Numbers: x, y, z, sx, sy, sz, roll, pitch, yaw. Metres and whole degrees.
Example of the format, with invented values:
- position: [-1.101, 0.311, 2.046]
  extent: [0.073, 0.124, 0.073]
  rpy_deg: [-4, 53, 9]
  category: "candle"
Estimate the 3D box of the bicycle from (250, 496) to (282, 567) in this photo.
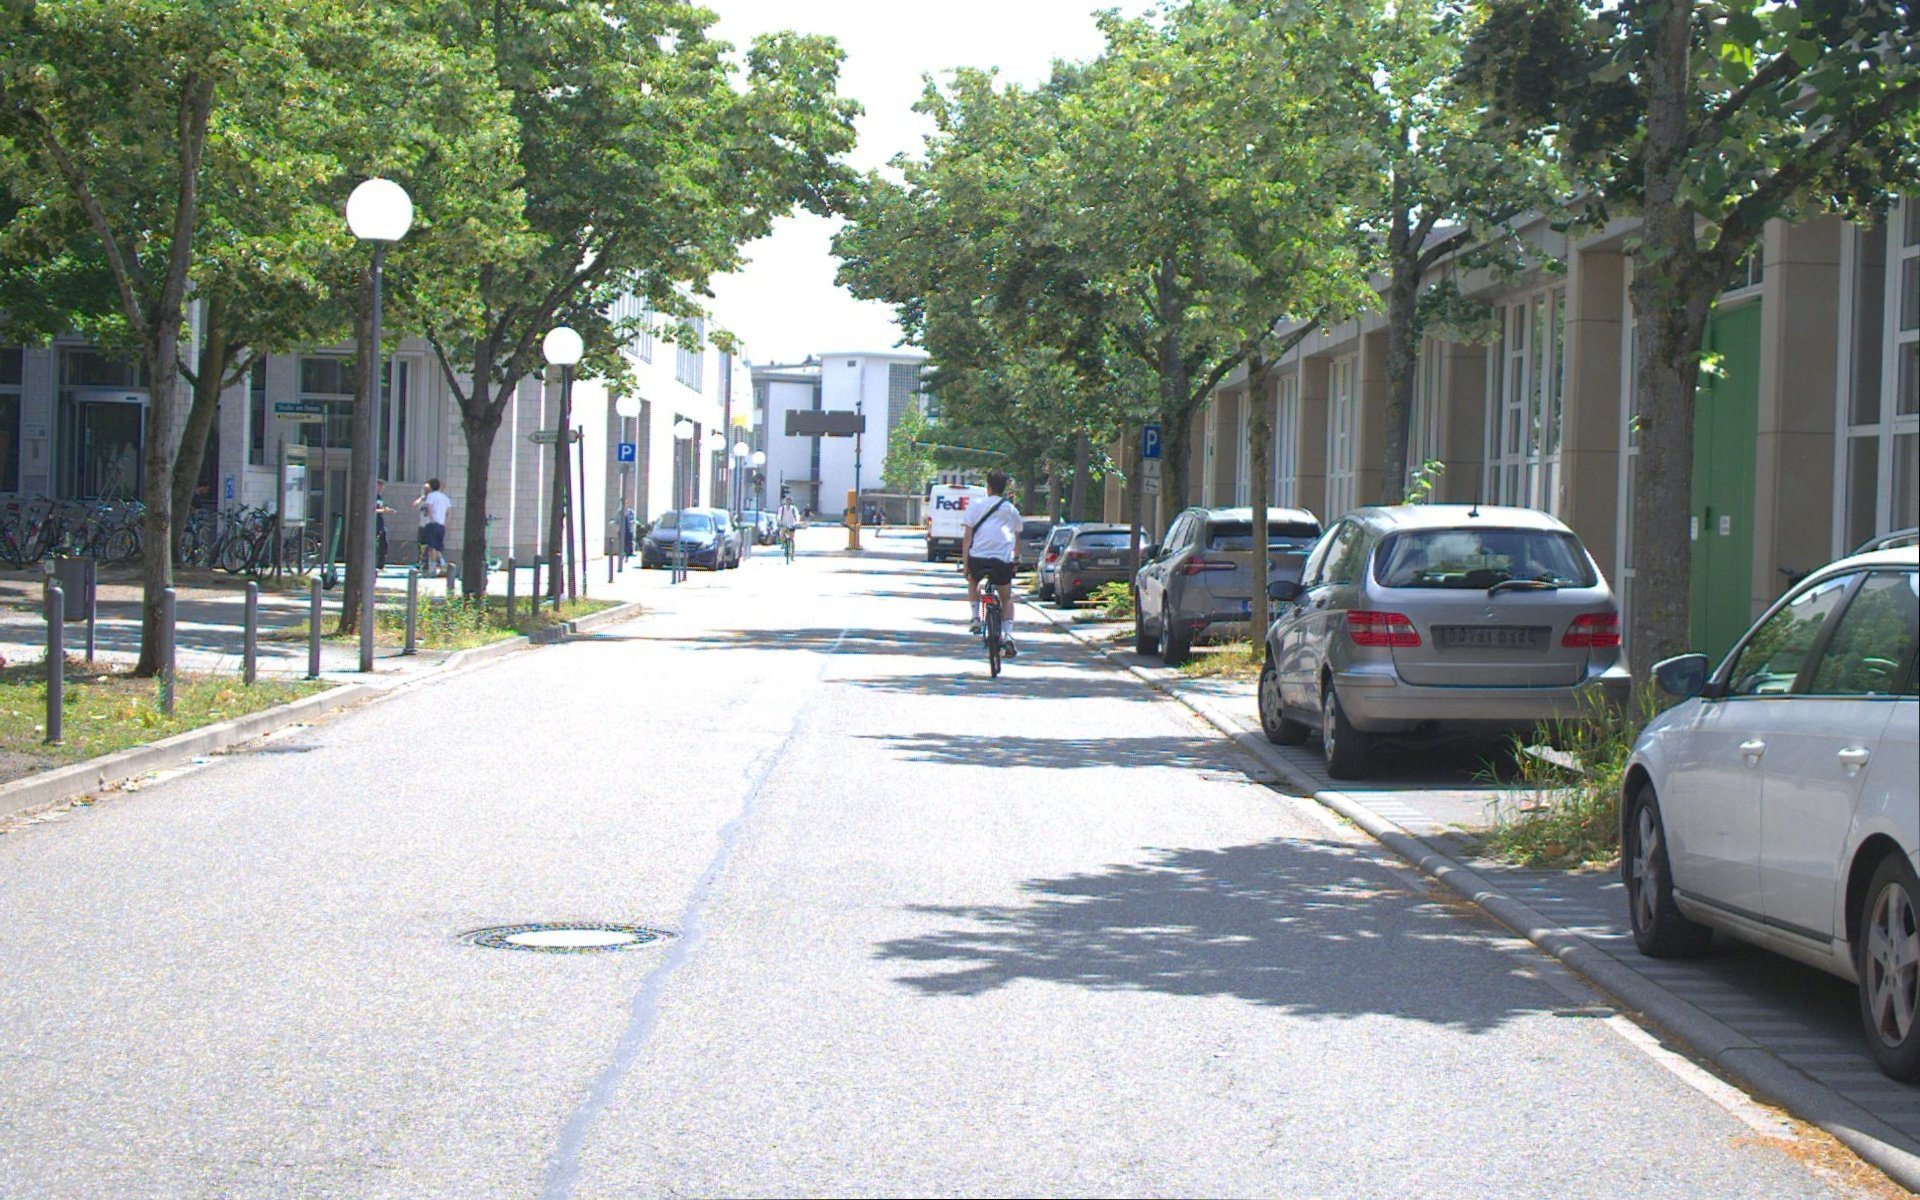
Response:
- position: [-10.373, -1.037, 51.360]
  extent: [0.381, 1.022, 1.816]
  rpy_deg: [2, 1, -13]
  category: "bicycle"

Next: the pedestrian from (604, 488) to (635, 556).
- position: [-8.777, -2.012, 88.545]
  extent: [0.649, 1.695, 0.890]
  rpy_deg: [2, 1, -11]
  category: "pedestrian"

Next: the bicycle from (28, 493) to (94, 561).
- position: [-15.092, -1.235, 57.746]
  extent: [0.552, 1.083, 1.973]
  rpy_deg: [3, 1, -1]
  category: "bicycle"

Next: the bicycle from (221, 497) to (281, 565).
- position: [-11.876, -1.165, 57.624]
  extent: [0.552, 1.083, 1.973]
  rpy_deg: [3, 1, -1]
  category: "bicycle"

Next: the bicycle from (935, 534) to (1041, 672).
- position: [0.242, 0.002, 32.499]
  extent: [0.882, 1.195, 2.750]
  rpy_deg: [2, 2, -1]
  category: "bicycle"

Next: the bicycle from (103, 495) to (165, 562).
- position: [-13.948, -1.209, 58.096]
  extent: [0.552, 1.083, 1.973]
  rpy_deg: [3, 1, -1]
  category: "bicycle"

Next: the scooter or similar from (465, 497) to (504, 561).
- position: [-9.333, -1.402, 67.482]
  extent: [0.454, 1.219, 1.549]
  rpy_deg: [2, 2, 3]
  category: "scooter or similar"

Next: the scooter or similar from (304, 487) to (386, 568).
- position: [-9.227, -1.087, 51.620]
  extent: [0.339, 1.171, 1.325]
  rpy_deg: [3, 2, 34]
  category: "scooter or similar"

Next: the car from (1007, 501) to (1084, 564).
- position: [2.184, -1.763, 88.864]
  extent: [1.858, 1.568, 4.000]
  rpy_deg: [0, 2, 0]
  category: "car"

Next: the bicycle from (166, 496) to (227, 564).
- position: [-12.830, -1.185, 57.809]
  extent: [0.552, 1.083, 1.973]
  rpy_deg: [3, 1, -1]
  category: "bicycle"

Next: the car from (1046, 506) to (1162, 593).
- position: [2.516, -0.916, 60.909]
  extent: [1.780, 1.471, 4.462]
  rpy_deg: [0, 2, -1]
  category: "car"

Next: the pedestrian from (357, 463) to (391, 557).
- position: [-11.232, -1.726, 65.892]
  extent: [0.441, 1.769, 0.451]
  rpy_deg: [1, 2, -31]
  category: "pedestrian"

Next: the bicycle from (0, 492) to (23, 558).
- position: [-16.264, -1.261, 57.642]
  extent: [0.552, 1.083, 1.973]
  rpy_deg: [3, 1, -1]
  category: "bicycle"

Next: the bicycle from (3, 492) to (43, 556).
- position: [-14.478, -1.179, 53.149]
  extent: [0.475, 0.962, 1.657]
  rpy_deg: [2, 1, -12]
  category: "bicycle"

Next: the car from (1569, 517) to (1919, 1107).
- position: [3.227, 0.509, 10.392]
  extent: [1.725, 1.462, 4.673]
  rpy_deg: [1, 2, -3]
  category: "car"

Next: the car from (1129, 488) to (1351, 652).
- position: [2.948, -0.332, 37.134]
  extent: [1.822, 1.658, 4.584]
  rpy_deg: [0, 1, -3]
  category: "car"

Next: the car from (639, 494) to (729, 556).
- position: [-6.730, -1.827, 84.149]
  extent: [1.766, 1.422, 4.235]
  rpy_deg: [2, 1, 1]
  category: "car"

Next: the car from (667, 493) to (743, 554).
- position: [-6.613, -1.990, 89.464]
  extent: [1.631, 1.479, 4.178]
  rpy_deg: [2, 1, 0]
  category: "car"

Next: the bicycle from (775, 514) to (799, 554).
- position: [-4.997, -1.917, 99.263]
  extent: [0.685, 1.126, 1.889]
  rpy_deg: [1, 2, -3]
  category: "bicycle"

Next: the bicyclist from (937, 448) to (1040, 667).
- position: [0.261, -0.406, 32.410]
  extent: [0.873, 2.007, 0.850]
  rpy_deg: [2, 1, -1]
  category: "bicyclist"

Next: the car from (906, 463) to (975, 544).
- position: [-0.667, -3.185, 113.193]
  extent: [2.083, 2.531, 4.316]
  rpy_deg: [3, 2, -1]
  category: "car"

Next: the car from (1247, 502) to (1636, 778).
- position: [2.936, 0.172, 21.781]
  extent: [1.704, 1.568, 4.141]
  rpy_deg: [0, 2, -2]
  category: "car"

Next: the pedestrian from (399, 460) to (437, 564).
- position: [-10.282, -1.678, 65.227]
  extent: [0.412, 1.935, 0.663]
  rpy_deg: [2, 2, -30]
  category: "pedestrian"

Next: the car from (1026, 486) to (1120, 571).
- position: [2.152, -1.388, 66.298]
  extent: [1.616, 1.533, 3.780]
  rpy_deg: [2, 1, -1]
  category: "car"

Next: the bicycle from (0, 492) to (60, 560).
- position: [-15.656, -1.248, 57.676]
  extent: [0.552, 1.083, 1.973]
  rpy_deg: [3, 1, -1]
  category: "bicycle"

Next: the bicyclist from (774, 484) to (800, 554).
- position: [-4.999, -2.346, 99.301]
  extent: [0.711, 2.007, 1.019]
  rpy_deg: [0, 1, -3]
  category: "bicyclist"
